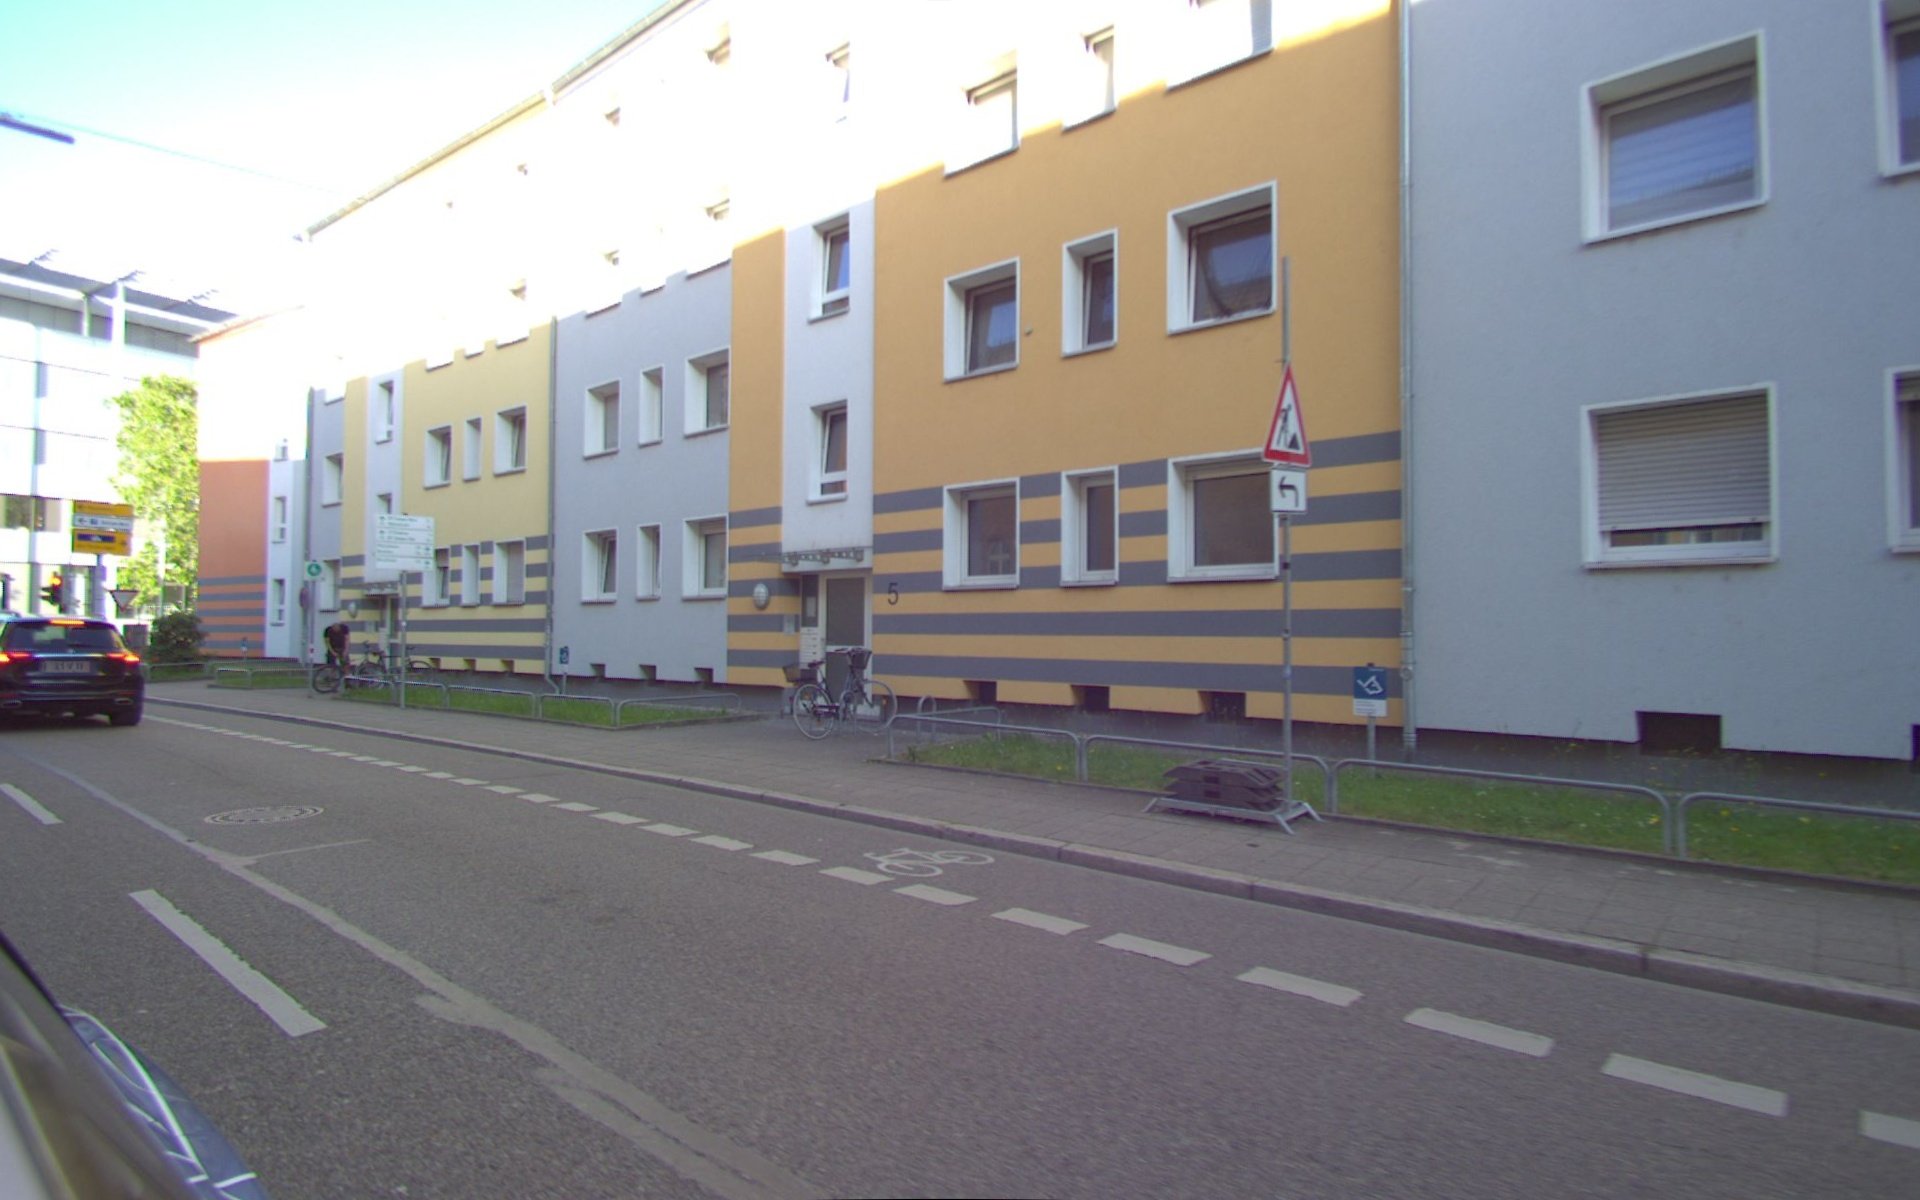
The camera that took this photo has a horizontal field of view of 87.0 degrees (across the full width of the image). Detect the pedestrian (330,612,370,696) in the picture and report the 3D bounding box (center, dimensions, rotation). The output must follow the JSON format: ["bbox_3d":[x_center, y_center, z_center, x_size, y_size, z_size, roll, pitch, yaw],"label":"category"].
[{"bbox_3d":[-13.966,1.230,23.186,0.709,1.869,0.872,1,-3,-28],"label":"pedestrian"}]

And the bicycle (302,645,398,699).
[{"bbox_3d":[-13.760,1.608,22.859,0.649,1.154,1.738,-1,-3,32],"label":"bicycle"}]

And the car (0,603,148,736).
[{"bbox_3d":[-14.977,1.072,16.306,5.089,1.849,1.881,-2,-5,39],"label":"car"}]

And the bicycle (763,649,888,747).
[{"bbox_3d":[-1.703,1.222,13.074,0.649,1.154,1.738,-1,-3,32],"label":"bicycle"}]

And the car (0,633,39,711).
[{"bbox_3d":[-20.401,1.419,20.594,4.131,1.497,1.724,-2,-5,38],"label":"car"}]

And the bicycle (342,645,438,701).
[{"bbox_3d":[-12.493,1.581,22.238,0.649,1.154,1.738,-1,-3,32],"label":"bicycle"}]

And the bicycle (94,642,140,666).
[{"bbox_3d":[-42.192,2.706,50.662,1.966,1.191,0.470,0,-2,2],"label":"bicycle"}]
